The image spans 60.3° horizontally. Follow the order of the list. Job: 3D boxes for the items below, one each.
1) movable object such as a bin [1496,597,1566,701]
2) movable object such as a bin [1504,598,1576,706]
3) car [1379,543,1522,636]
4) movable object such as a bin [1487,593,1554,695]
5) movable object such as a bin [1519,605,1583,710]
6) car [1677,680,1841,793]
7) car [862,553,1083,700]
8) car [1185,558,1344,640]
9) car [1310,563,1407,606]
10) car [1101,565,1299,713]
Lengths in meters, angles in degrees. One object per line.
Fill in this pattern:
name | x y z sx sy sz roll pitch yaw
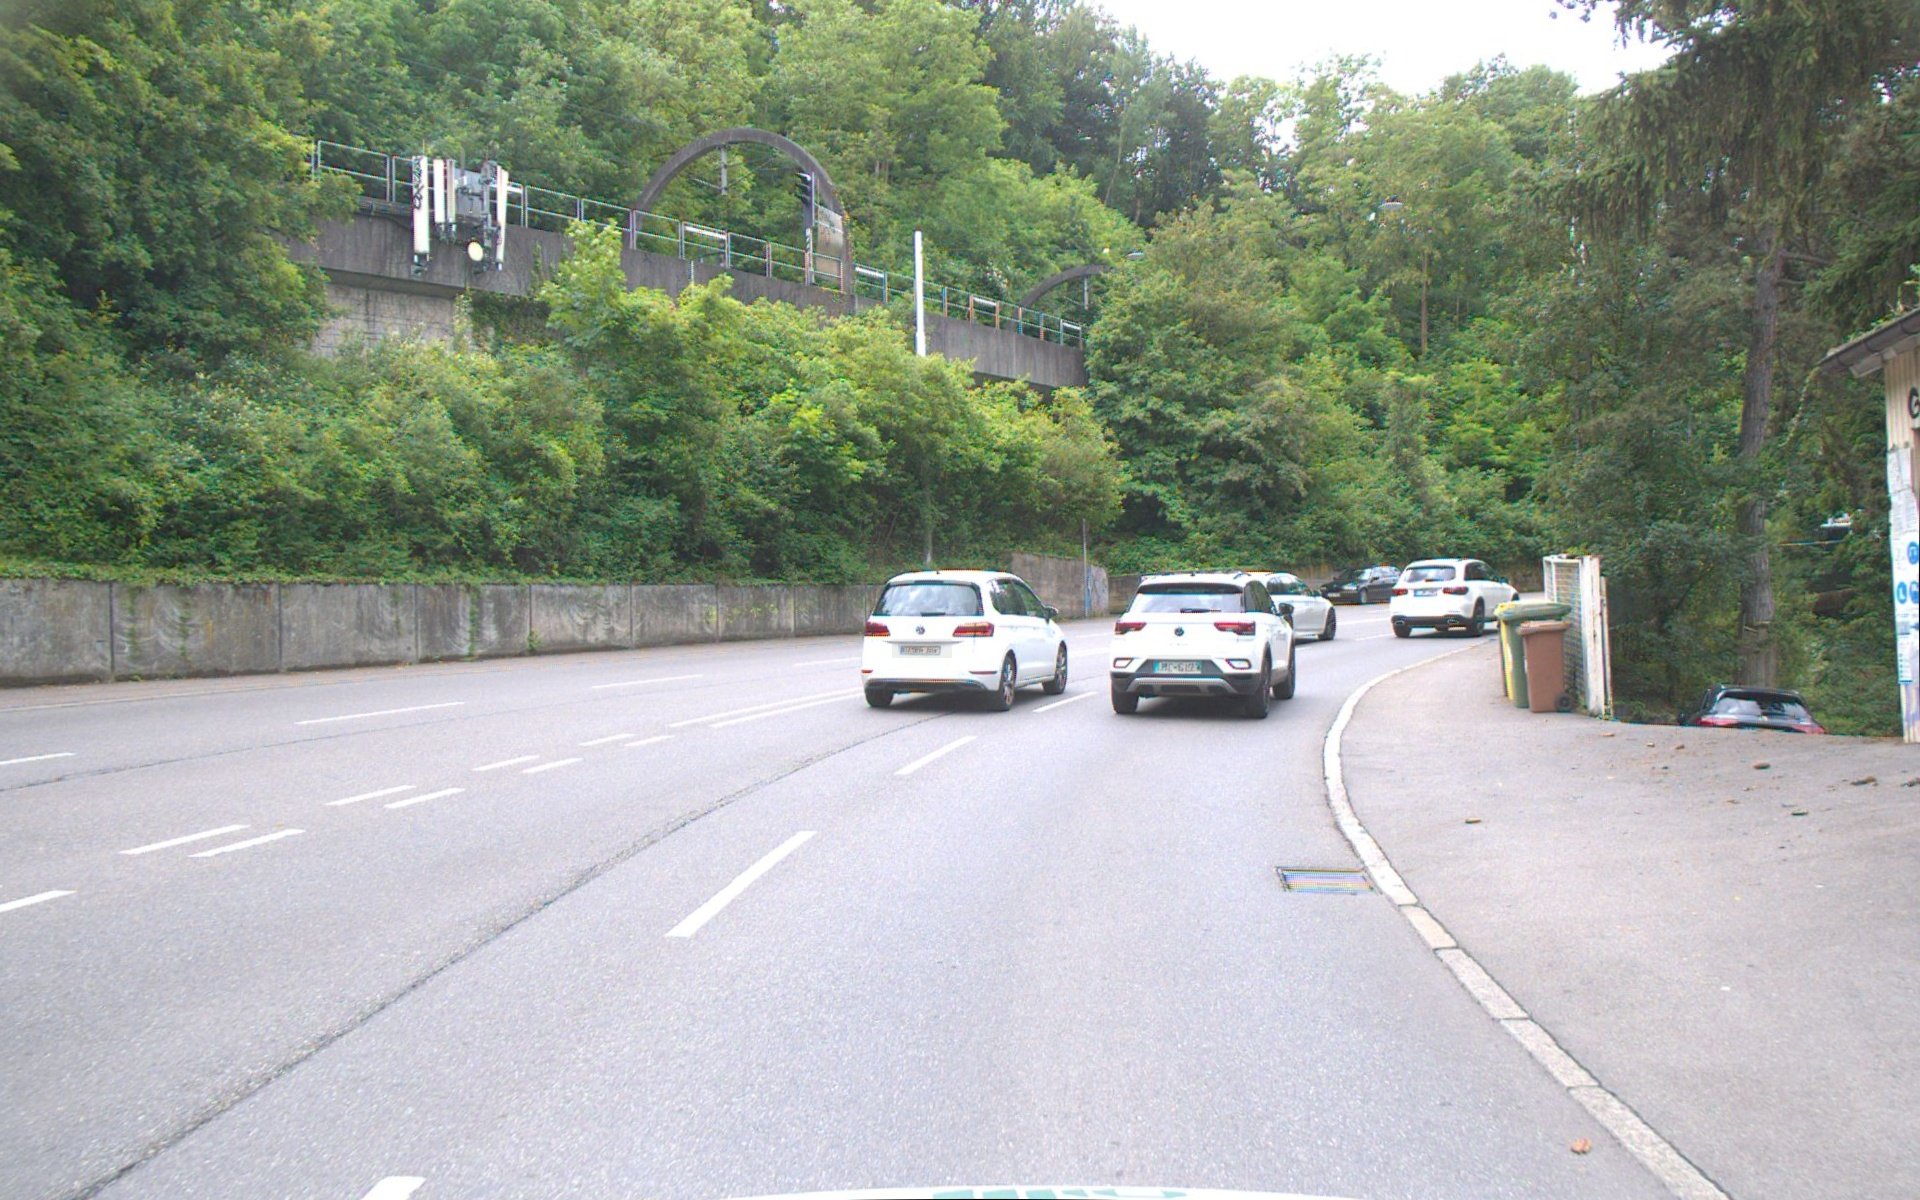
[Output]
movable object such as a bin | 6.287 0.536 18.236 0.590 1.078 0.480 -4 2 10
movable object such as a bin | 6.186 0.554 17.668 0.590 1.078 0.480 -4 2 10
car | 10.886 -0.195 36.521 1.958 1.876 4.138 0 -2 32
movable object such as a bin | 6.354 0.497 18.777 0.590 1.078 0.480 -4 2 10
movable object such as a bin | 6.118 0.592 17.140 0.489 1.026 0.440 -4 2 10
car | 11.515 1.963 24.057 1.690 1.424 4.000 1 -4 19
car | 0.280 0.381 20.435 1.684 1.582 4.277 1 -2 15
car | 6.377 -0.027 34.241 1.955 1.585 4.675 1 0 27
car | 14.657 -0.565 60.708 1.879 1.512 3.978 0 0 41
car | 2.952 0.463 19.670 1.775 1.566 4.010 0 -2 16
